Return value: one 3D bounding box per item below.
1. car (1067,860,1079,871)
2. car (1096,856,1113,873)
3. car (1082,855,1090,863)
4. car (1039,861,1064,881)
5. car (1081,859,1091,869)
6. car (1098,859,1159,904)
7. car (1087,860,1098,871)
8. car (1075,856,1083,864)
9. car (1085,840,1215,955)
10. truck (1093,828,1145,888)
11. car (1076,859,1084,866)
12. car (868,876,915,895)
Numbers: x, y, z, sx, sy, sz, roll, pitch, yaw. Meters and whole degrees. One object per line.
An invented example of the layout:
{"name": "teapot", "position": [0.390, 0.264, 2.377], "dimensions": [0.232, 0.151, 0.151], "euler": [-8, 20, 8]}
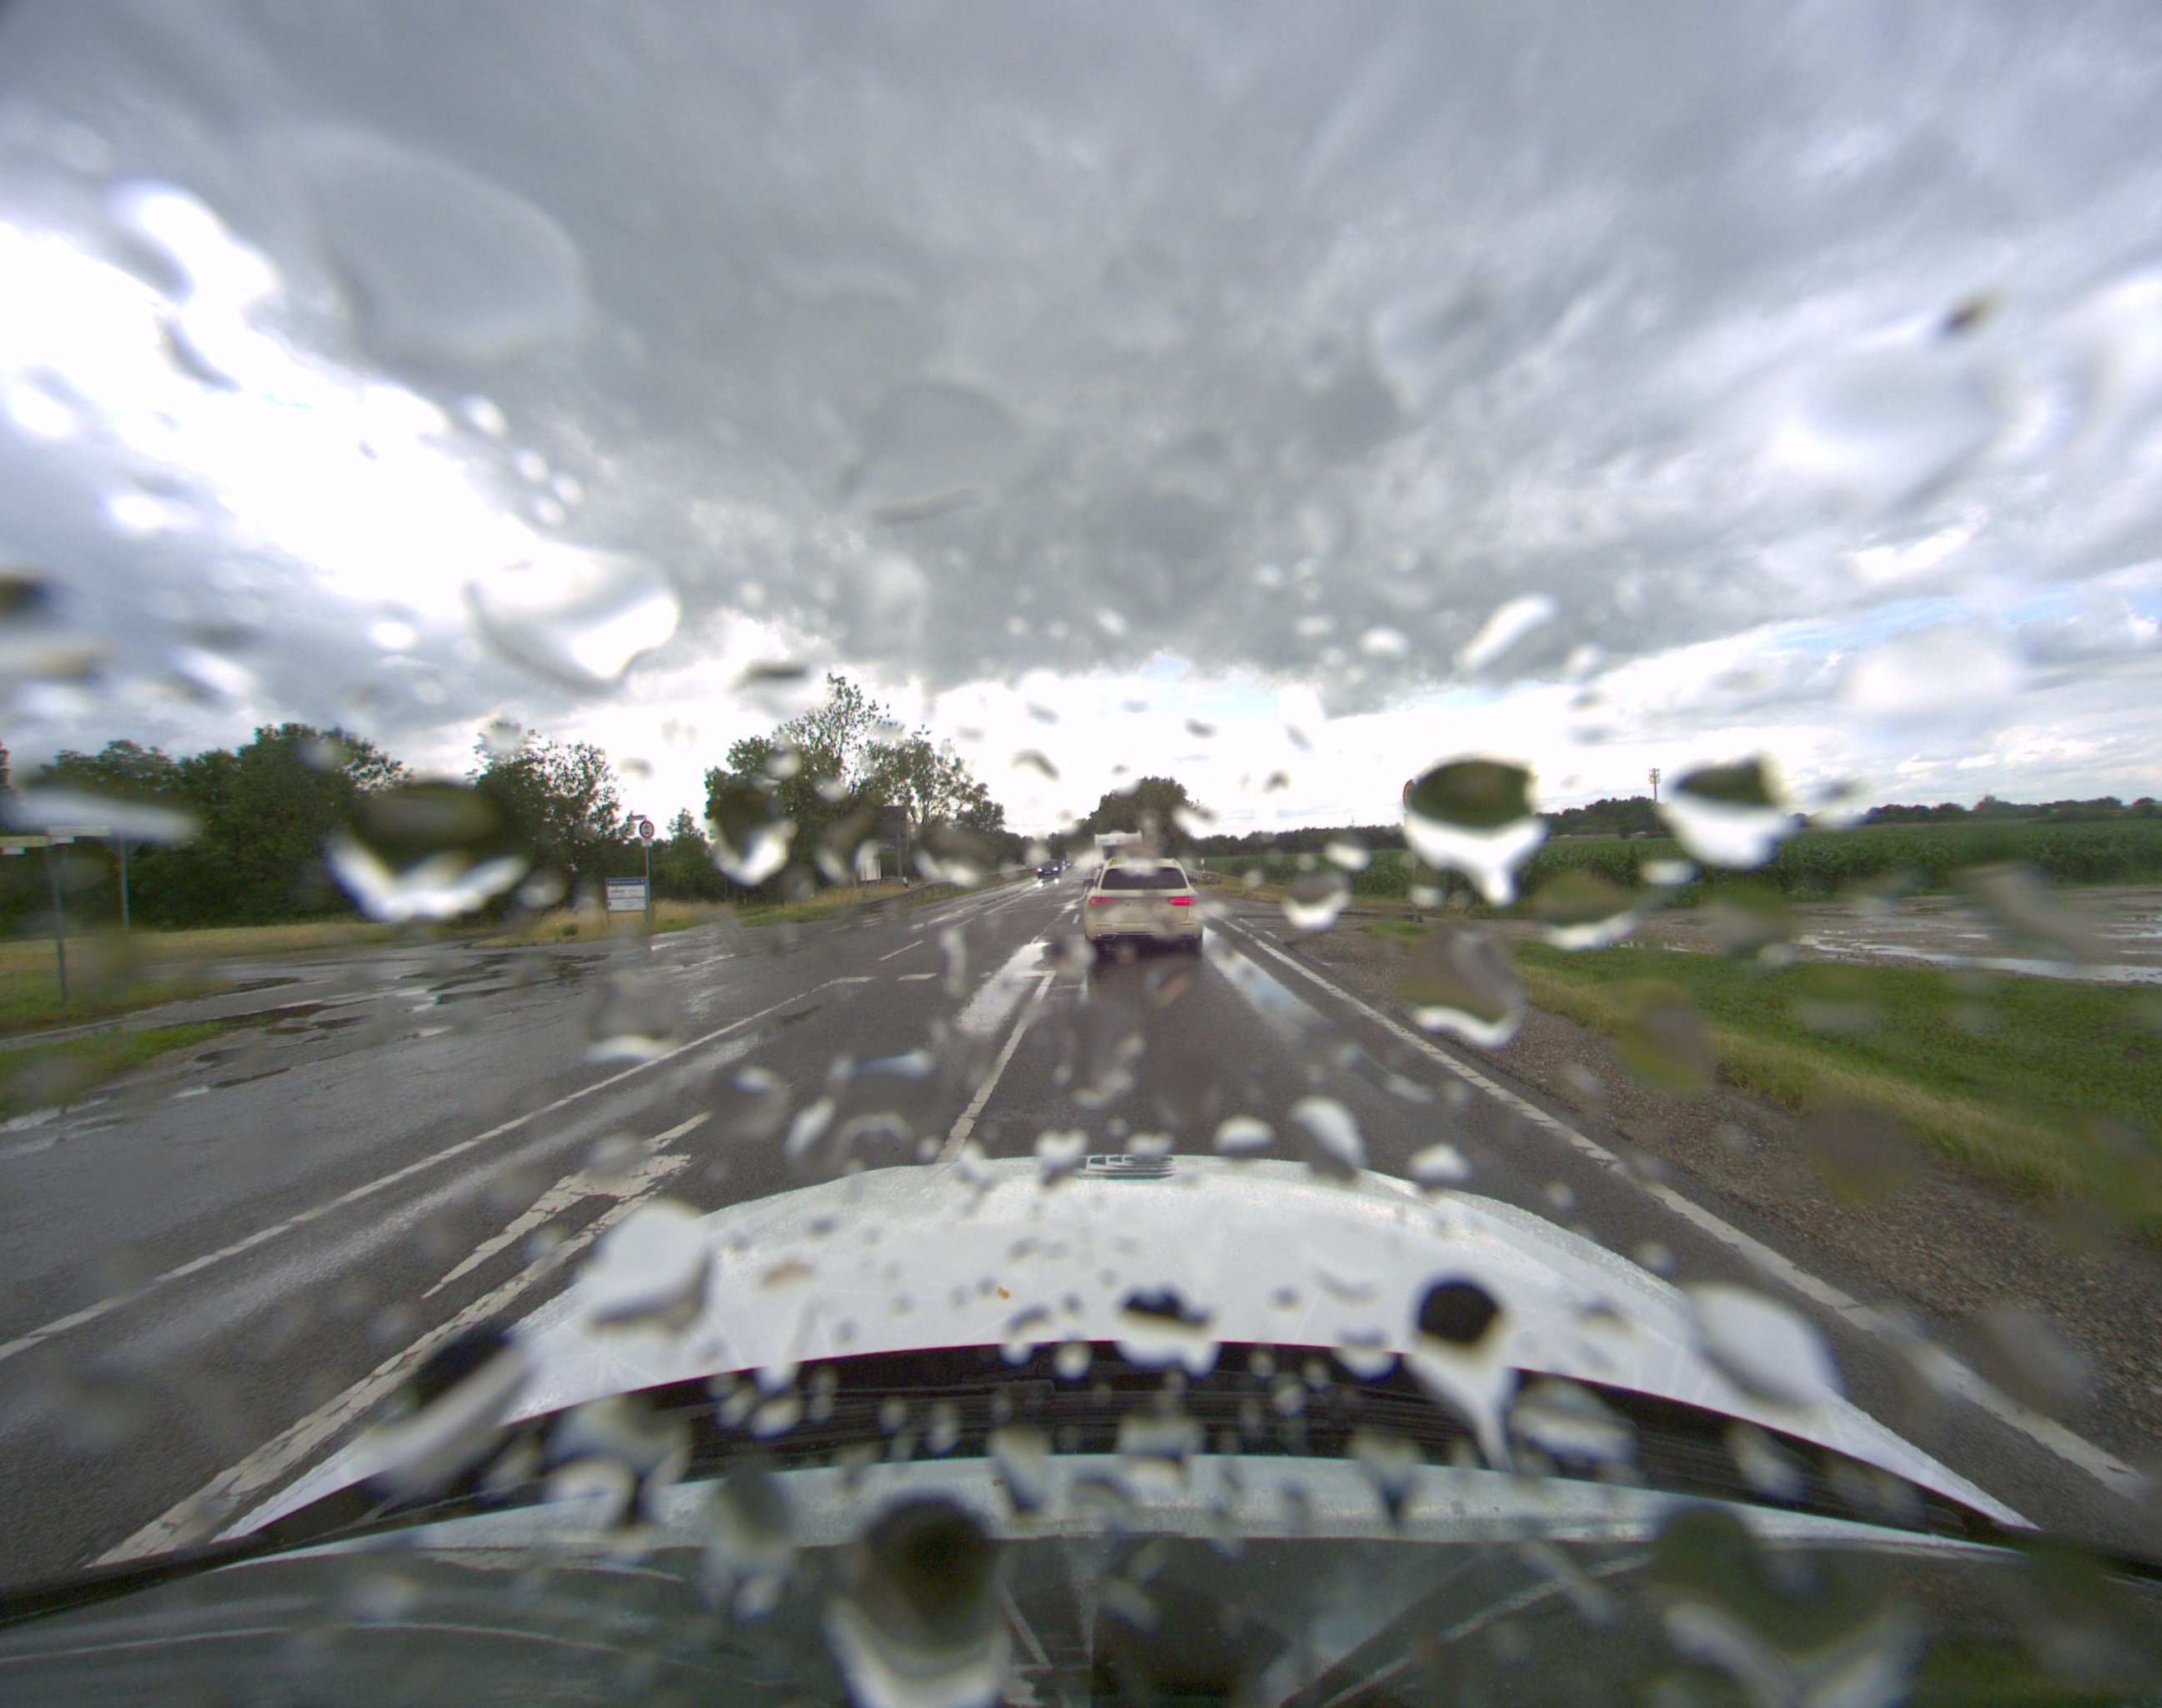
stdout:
{"name": "car", "position": [-1.169, 1.680, 122.314], "dimensions": [1.574, 1.640, 3.442], "euler": [-2, 0, 1]}
{"name": "car", "position": [2.852, 1.246, 97.458], "dimensions": [1.907, 1.841, 3.798], "euler": [-2, 0, 3]}
{"name": "car", "position": [1.221, 1.190, 190.888], "dimensions": [1.733, 1.860, 3.786], "euler": [-2, 0, 2]}
{"name": "car", "position": [-2.477, 1.429, 69.430], "dimensions": [1.821, 1.574, 4.002], "euler": [0, -1, 2]}
{"name": "car", "position": [1.066, 2.123, 170.200], "dimensions": [1.845, 2.013, 3.812], "euler": [-2, -1, 2]}
{"name": "car", "position": [1.622, 0.915, 28.652], "dimensions": [1.986, 1.462, 4.001], "euler": [1, -1, 2]}
{"name": "car", "position": [1.971, 1.962, 143.162], "dimensions": [1.784, 1.777, 3.722], "euler": [-2, 0, 2]}
{"name": "car", "position": [-0.508, 1.575, 209.273], "dimensions": [1.890, 1.895, 3.841], "euler": [-2, -1, -1]}
{"name": "car", "position": [1.049, 0.639, 13.668], "dimensions": [1.836, 1.618, 4.001], "euler": [-1, 0, 2]}
{"name": "truck", "position": [1.912, 0.188, 42.115], "dimensions": [2.354, 2.729, 7.317], "euler": [-2, 0, 2]}
{"name": "car", "position": [-0.174, 2.089, 200.387], "dimensions": [1.744, 1.662, 3.670], "euler": [-2, 0, -2]}
{"name": "car", "position": [-16.475, 2.730, 71.119], "dimensions": [2.288, 1.547, 4.645], "euler": [0, -1, 10]}
